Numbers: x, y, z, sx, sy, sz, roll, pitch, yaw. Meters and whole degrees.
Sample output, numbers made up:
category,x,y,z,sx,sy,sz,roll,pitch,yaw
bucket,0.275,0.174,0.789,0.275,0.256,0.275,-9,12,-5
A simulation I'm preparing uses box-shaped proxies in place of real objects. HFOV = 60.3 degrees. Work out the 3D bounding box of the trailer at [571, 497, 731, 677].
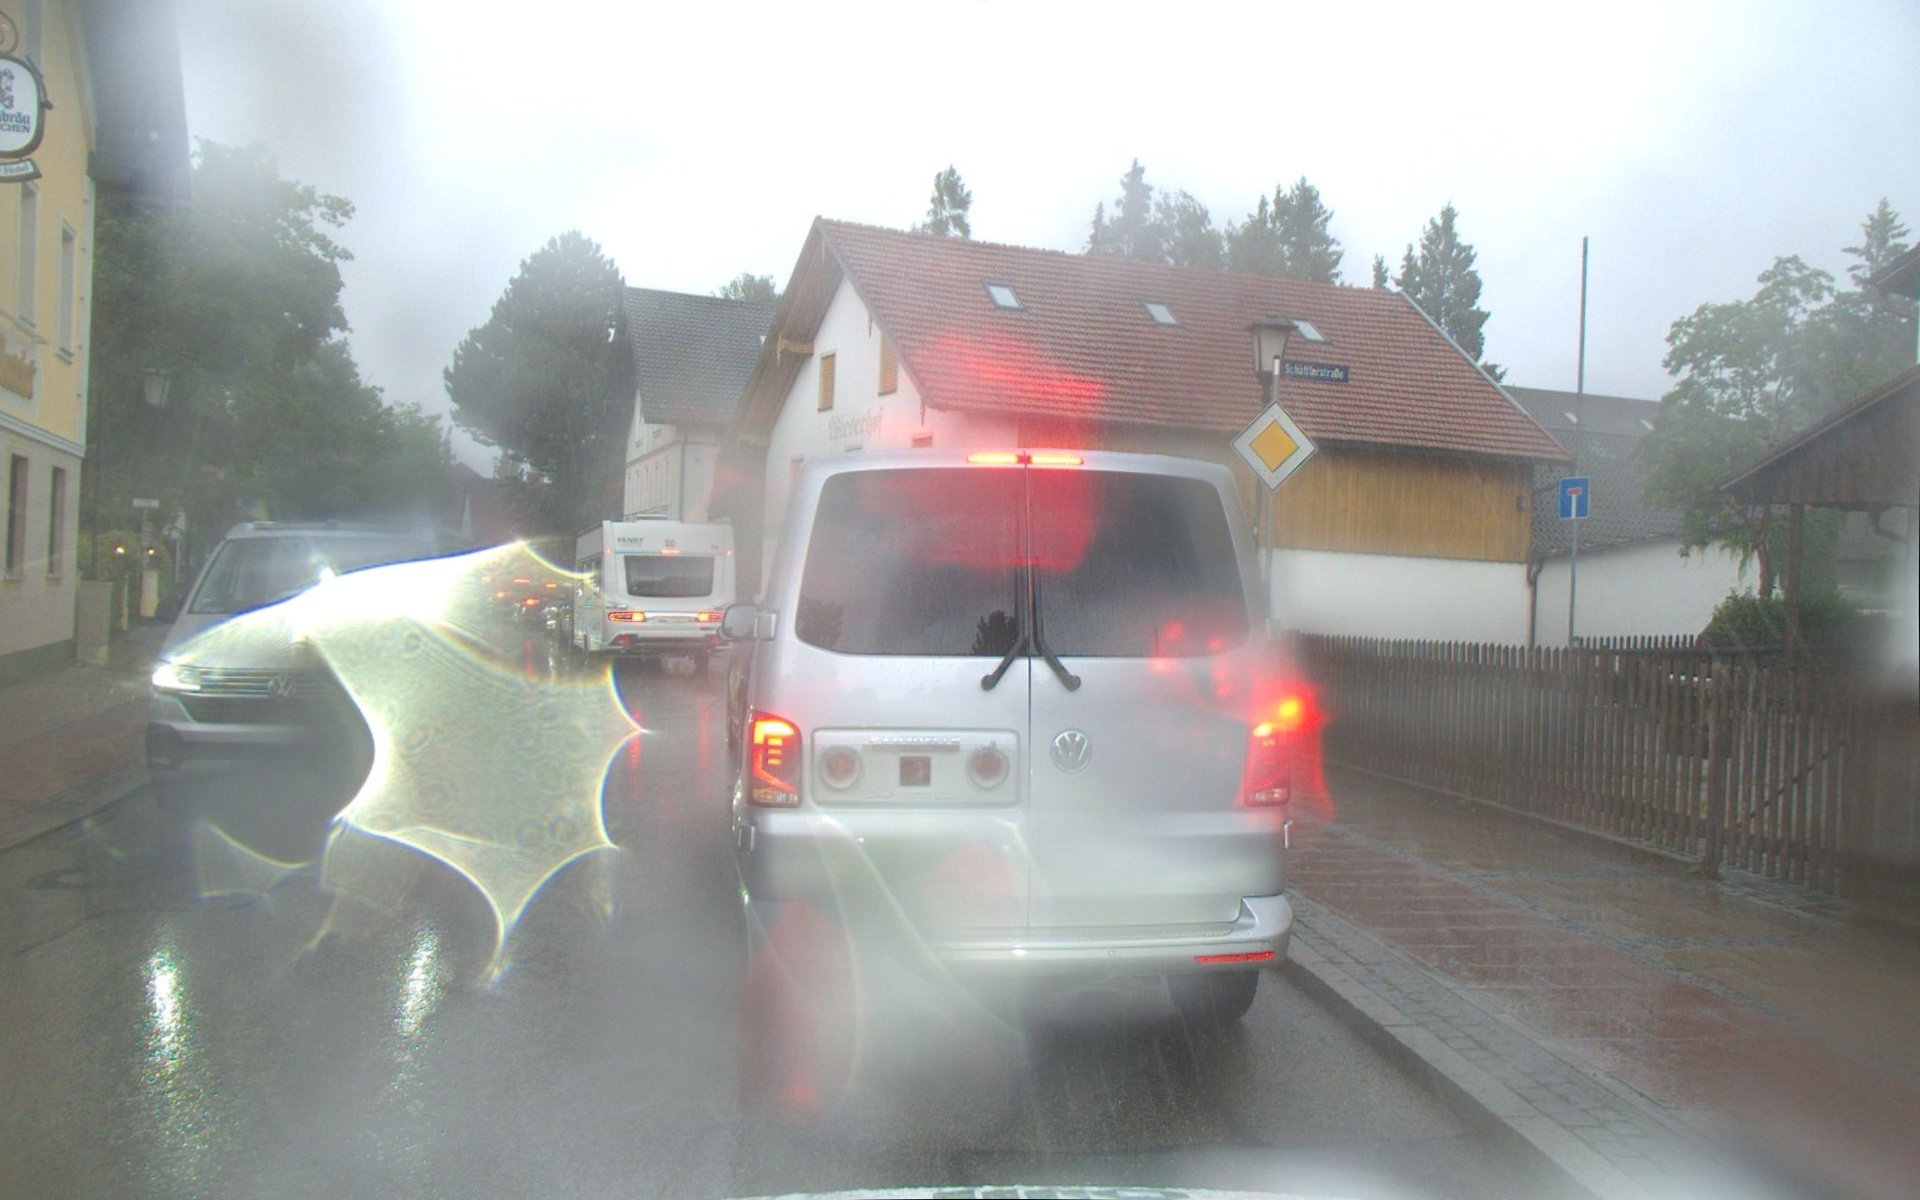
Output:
category,x,y,z,sx,sy,sz,roll,pitch,yaw
trailer,-5.808,-0.216,30.437,2.235,2.955,6.103,1,0,-17

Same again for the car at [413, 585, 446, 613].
category,x,y,z,sx,sy,sz,roll,pitch,yaw
car,-40.571,-0.109,126.499,2.137,1.932,4.985,2,1,-20

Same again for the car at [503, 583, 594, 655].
category,x,y,z,sx,sy,sz,roll,pitch,yaw
car,-12.647,0.533,50.655,2.137,1.932,4.985,2,1,-20

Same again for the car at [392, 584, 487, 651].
category,x,y,z,sx,sy,sz,roll,pitch,yaw
car,-11.909,0.354,37.663,1.835,1.382,4.456,0,1,-21

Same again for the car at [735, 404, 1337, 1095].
category,x,y,z,sx,sy,sz,roll,pitch,yaw
car,0.190,0.438,7.338,1.740,1.997,5.073,0,0,-1

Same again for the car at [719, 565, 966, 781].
category,x,y,z,sx,sy,sz,roll,pitch,yaw
car,-1.220,0.508,14.954,1.678,1.611,4.673,-1,1,-11

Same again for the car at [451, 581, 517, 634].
category,x,y,z,sx,sy,sz,roll,pitch,yaw
car,-19.238,0.275,66.679,2.137,1.932,4.985,2,1,-20

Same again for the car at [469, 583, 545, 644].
category,x,y,z,sx,sy,sz,roll,pitch,yaw
car,-16.117,0.440,58.669,2.137,1.932,4.985,2,1,-20

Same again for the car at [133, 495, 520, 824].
category,x,y,z,sx,sy,sz,roll,pitch,yaw
car,-4.523,0.372,12.562,1.816,2.006,4.691,0,0,-9
